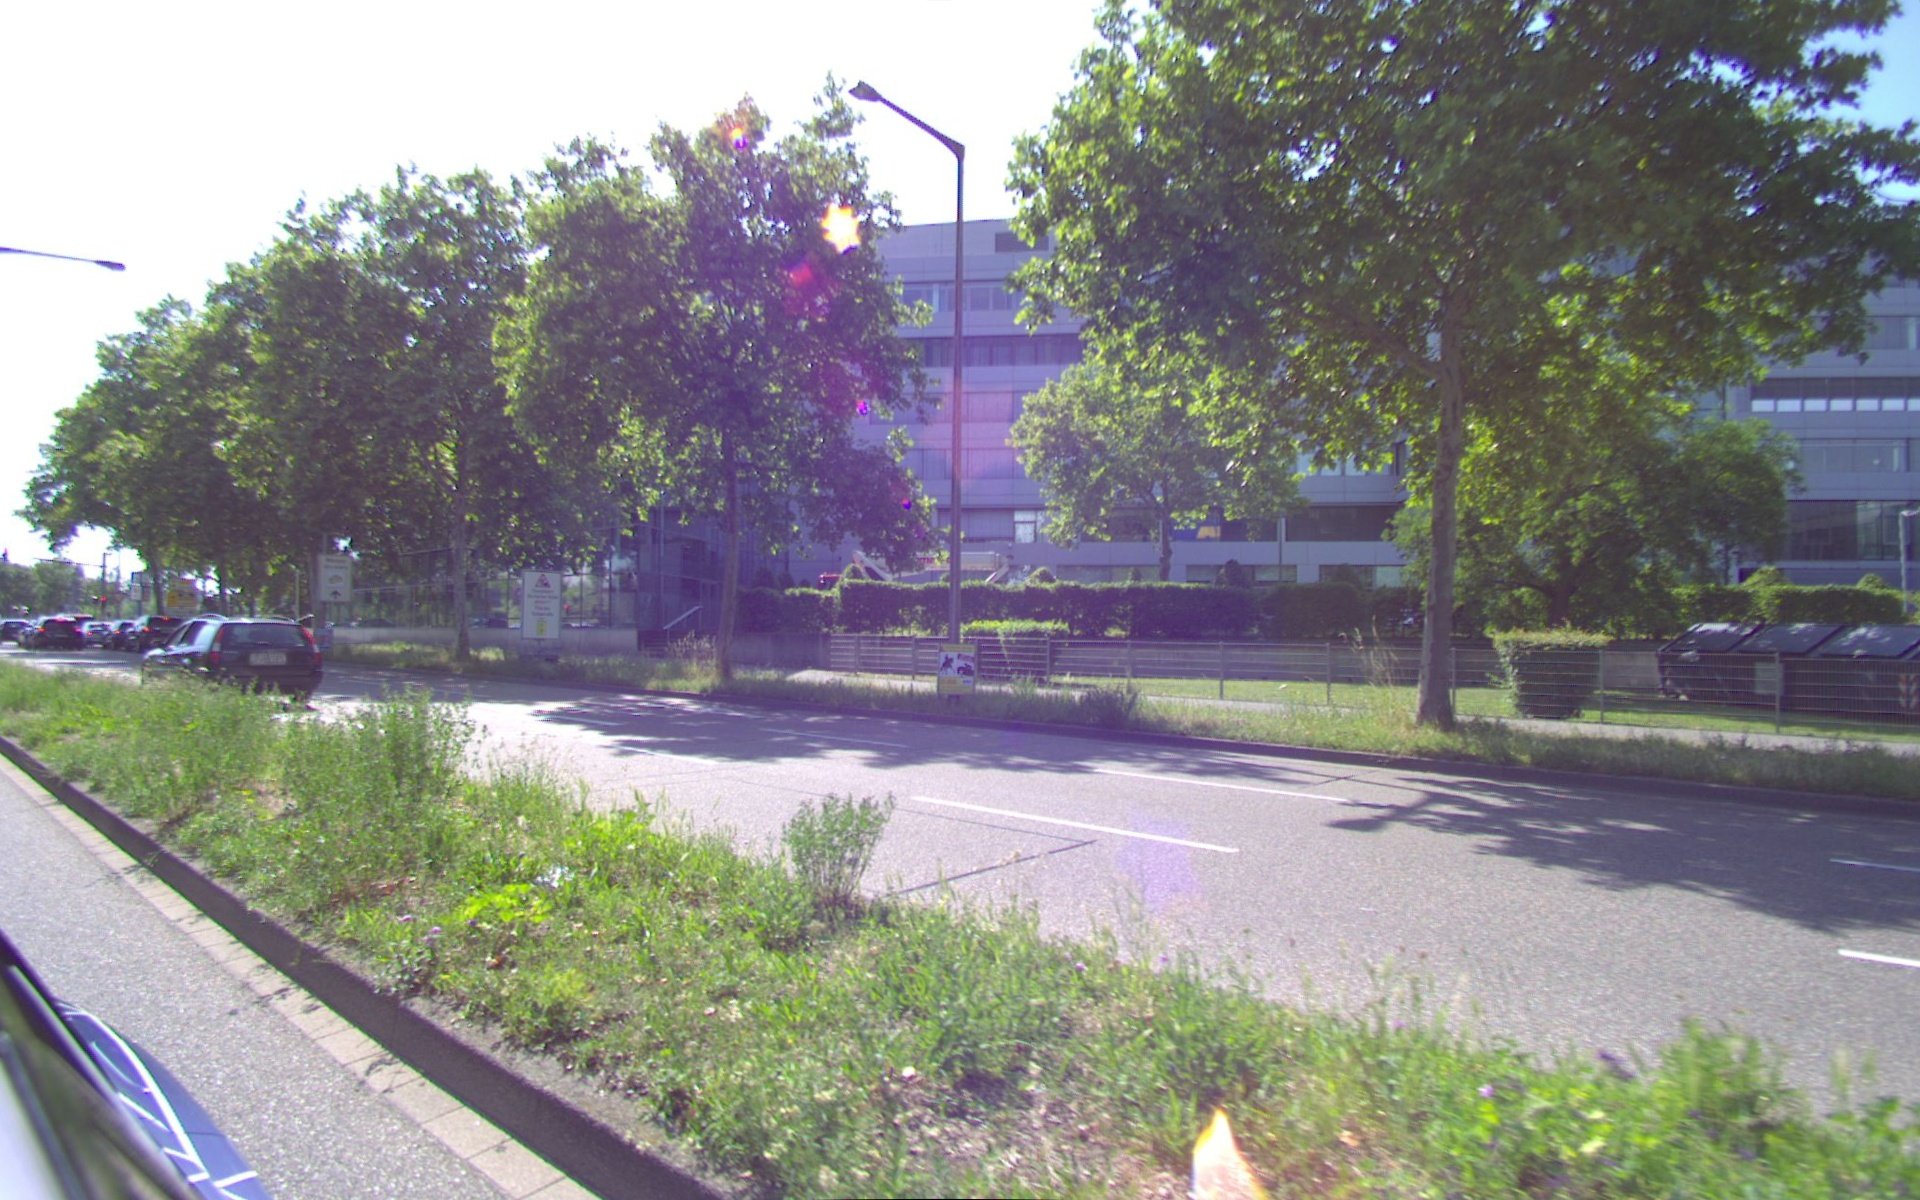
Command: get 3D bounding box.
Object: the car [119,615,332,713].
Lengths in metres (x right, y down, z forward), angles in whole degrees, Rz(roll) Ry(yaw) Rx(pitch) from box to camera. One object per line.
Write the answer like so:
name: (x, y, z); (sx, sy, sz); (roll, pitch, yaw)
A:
car: (-12.751, 1.034, 17.470); (4.665, 1.479, 1.755); (-1, -3, 39)

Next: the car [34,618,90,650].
car: (-56.346, 2.166, 63.478); (5.225, 1.934, 1.918); (-2, -3, 41)

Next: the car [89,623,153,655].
car: (-44.261, 2.062, 53.345); (4.444, 1.603, 1.867); (-1, -4, 42)

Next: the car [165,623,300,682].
car: (-20.166, 1.400, 27.972); (4.983, 1.479, 1.809); (-1, -3, 40)

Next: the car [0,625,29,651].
car: (-57.380, 2.285, 60.727); (3.955, 1.487, 1.743); (-2, -3, 41)

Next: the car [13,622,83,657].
car: (-44.372, 1.920, 49.204); (4.493, 1.623, 1.973); (-2, -4, 41)

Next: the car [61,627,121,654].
car: (-49.435, 2.284, 57.556); (5.002, 1.460, 1.871); (-1, -4, 42)

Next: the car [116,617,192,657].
car: (-38.825, 1.785, 48.715); (4.648, 1.849, 1.973); (-2, -4, 41)

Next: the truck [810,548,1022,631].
truck: (-1.787, -0.411, 43.592); (8.875, 3.421, 2.669); (0, -2, 5)
